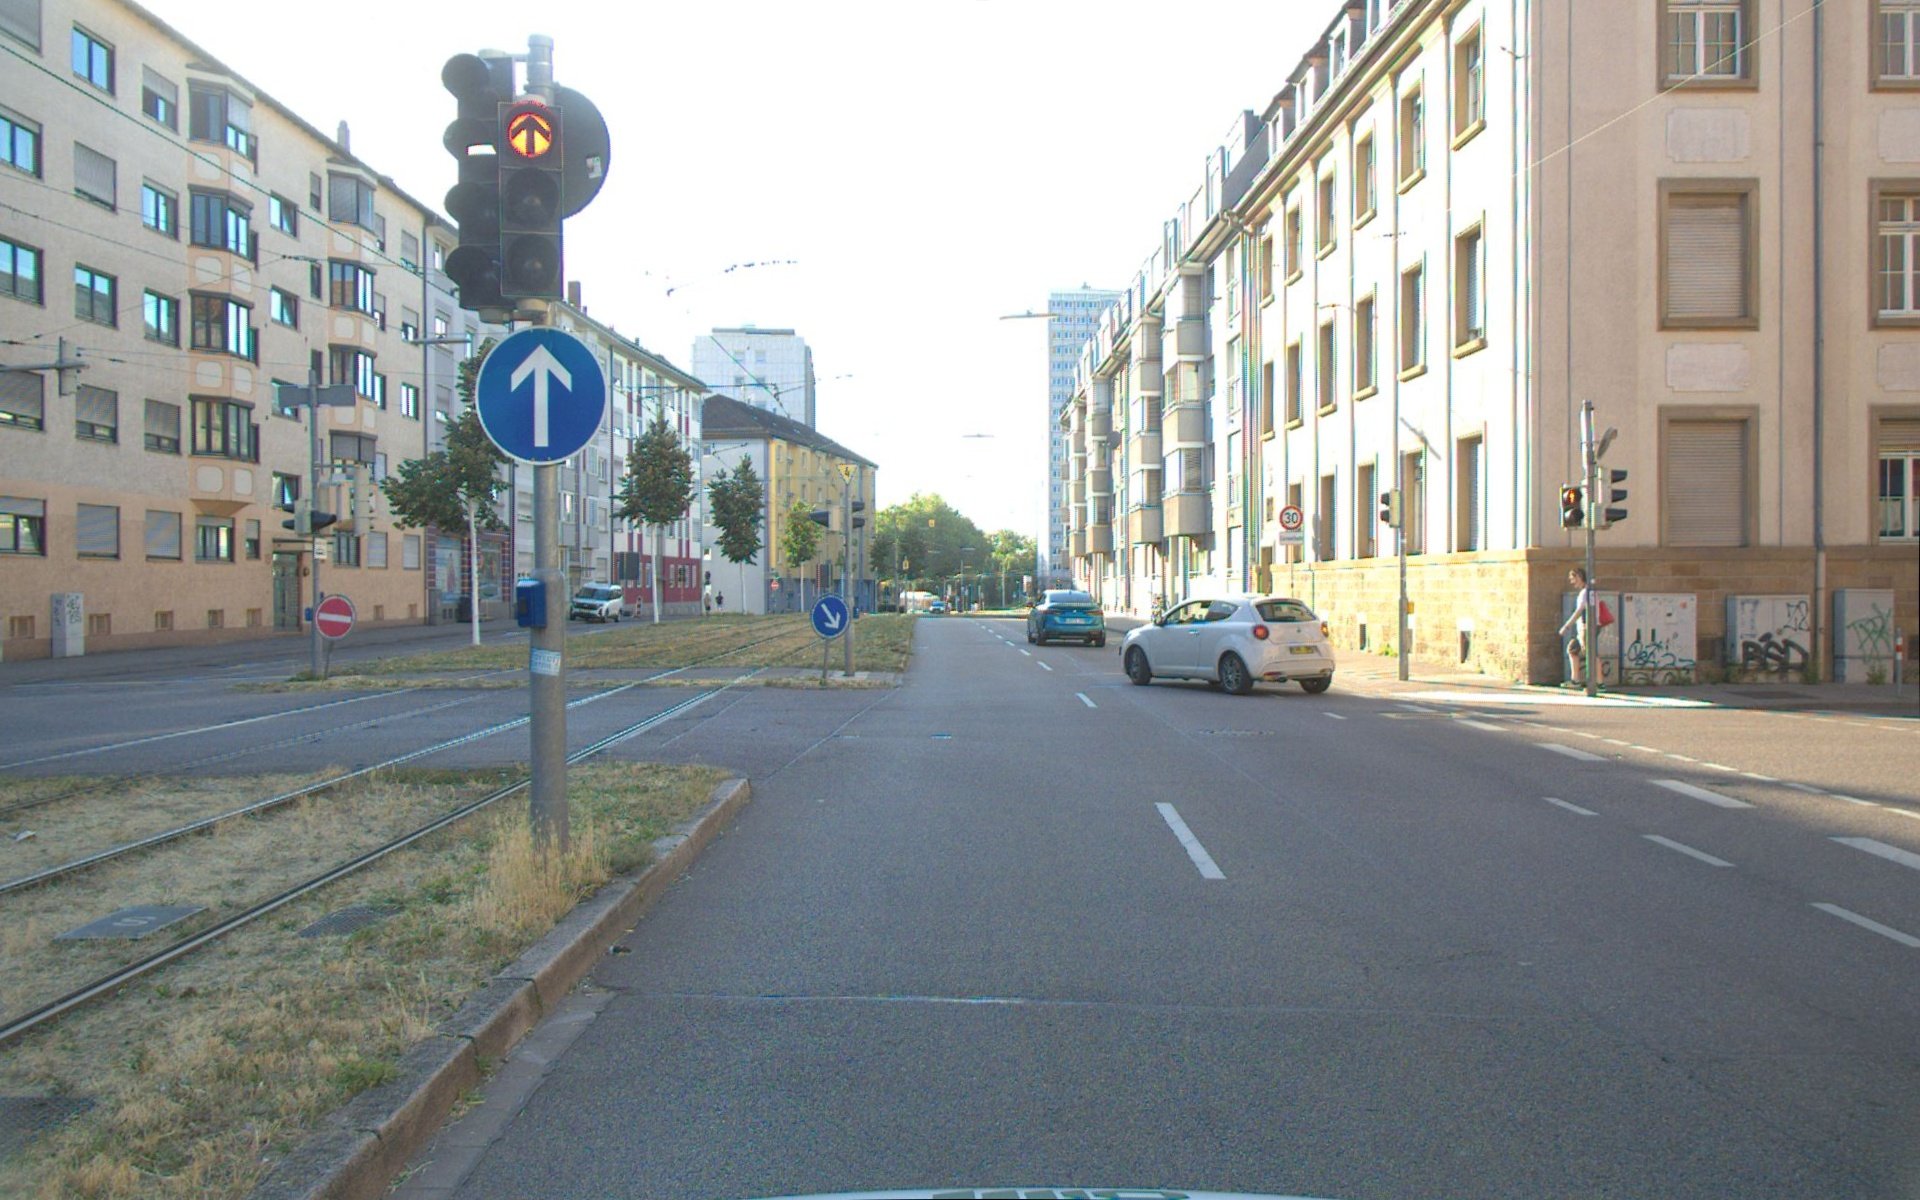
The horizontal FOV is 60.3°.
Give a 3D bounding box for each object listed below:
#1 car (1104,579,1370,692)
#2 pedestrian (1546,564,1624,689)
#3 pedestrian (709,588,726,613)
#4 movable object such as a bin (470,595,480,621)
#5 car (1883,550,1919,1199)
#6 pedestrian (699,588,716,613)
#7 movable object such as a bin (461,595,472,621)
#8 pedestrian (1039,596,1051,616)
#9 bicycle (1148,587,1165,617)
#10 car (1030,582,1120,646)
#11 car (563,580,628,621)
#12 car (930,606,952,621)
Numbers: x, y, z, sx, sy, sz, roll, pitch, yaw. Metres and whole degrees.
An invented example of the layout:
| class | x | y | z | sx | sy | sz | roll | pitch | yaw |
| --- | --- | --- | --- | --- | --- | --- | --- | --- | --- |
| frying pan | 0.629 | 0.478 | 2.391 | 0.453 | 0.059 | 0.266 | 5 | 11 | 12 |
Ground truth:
| class | x | y | z | sx | sy | sz | roll | pitch | yaw |
| --- | --- | --- | --- | --- | --- | --- | --- | --- | --- |
| car | 4.171 | 0.501 | 25.478 | 1.973 | 1.591 | 3.958 | 1 | 0 | -31 |
| pedestrian | 9.219 | 0.385 | 24.417 | 0.818 | 1.793 | 0.824 | 1 | -1 | -1 |
| pedestrian | -16.985 | 0.038 | 116.002 | 0.942 | 1.699 | 1.011 | 1 | 0 | 4 |
| movable object such as a bin | -20.094 | 0.325 | 68.509 | 0.292 | 1.054 | 0.441 | 1 | -1 | -2 |
| car | 2.857 | 0.721 | 1.456 | 1.663 | 1.580 | 4.225 | 1 | 0 | -1 |
| pedestrian | -17.665 | 0.025 | 115.693 | 0.942 | 1.723 | 1.011 | 1 | 0 | 4 |
| movable object such as a bin | -20.288 | 0.332 | 67.983 | 0.292 | 1.054 | 0.441 | 1 | -1 | 1 |
| pedestrian | 5.407 | 0.369 | 105.192 | 0.677 | 1.256 | 0.736 | 1 | 0 | 0 |
| bicycle | 7.340 | 0.084 | 61.907 | 0.376 | 1.115 | 1.503 | -1 | 0 | -3 |
| car | 2.990 | 0.368 | 43.799 | 1.953 | 1.581 | 4.392 | 1 | 0 | -2 |
| car | -17.894 | 0.031 | 81.323 | 1.952 | 1.958 | 4.543 | 1 | 0 | 3 |
| car | -2.241 | 1.569 | 194.638 | 1.857 | 1.662 | 4.751 | -1 | 0 | 7 |
